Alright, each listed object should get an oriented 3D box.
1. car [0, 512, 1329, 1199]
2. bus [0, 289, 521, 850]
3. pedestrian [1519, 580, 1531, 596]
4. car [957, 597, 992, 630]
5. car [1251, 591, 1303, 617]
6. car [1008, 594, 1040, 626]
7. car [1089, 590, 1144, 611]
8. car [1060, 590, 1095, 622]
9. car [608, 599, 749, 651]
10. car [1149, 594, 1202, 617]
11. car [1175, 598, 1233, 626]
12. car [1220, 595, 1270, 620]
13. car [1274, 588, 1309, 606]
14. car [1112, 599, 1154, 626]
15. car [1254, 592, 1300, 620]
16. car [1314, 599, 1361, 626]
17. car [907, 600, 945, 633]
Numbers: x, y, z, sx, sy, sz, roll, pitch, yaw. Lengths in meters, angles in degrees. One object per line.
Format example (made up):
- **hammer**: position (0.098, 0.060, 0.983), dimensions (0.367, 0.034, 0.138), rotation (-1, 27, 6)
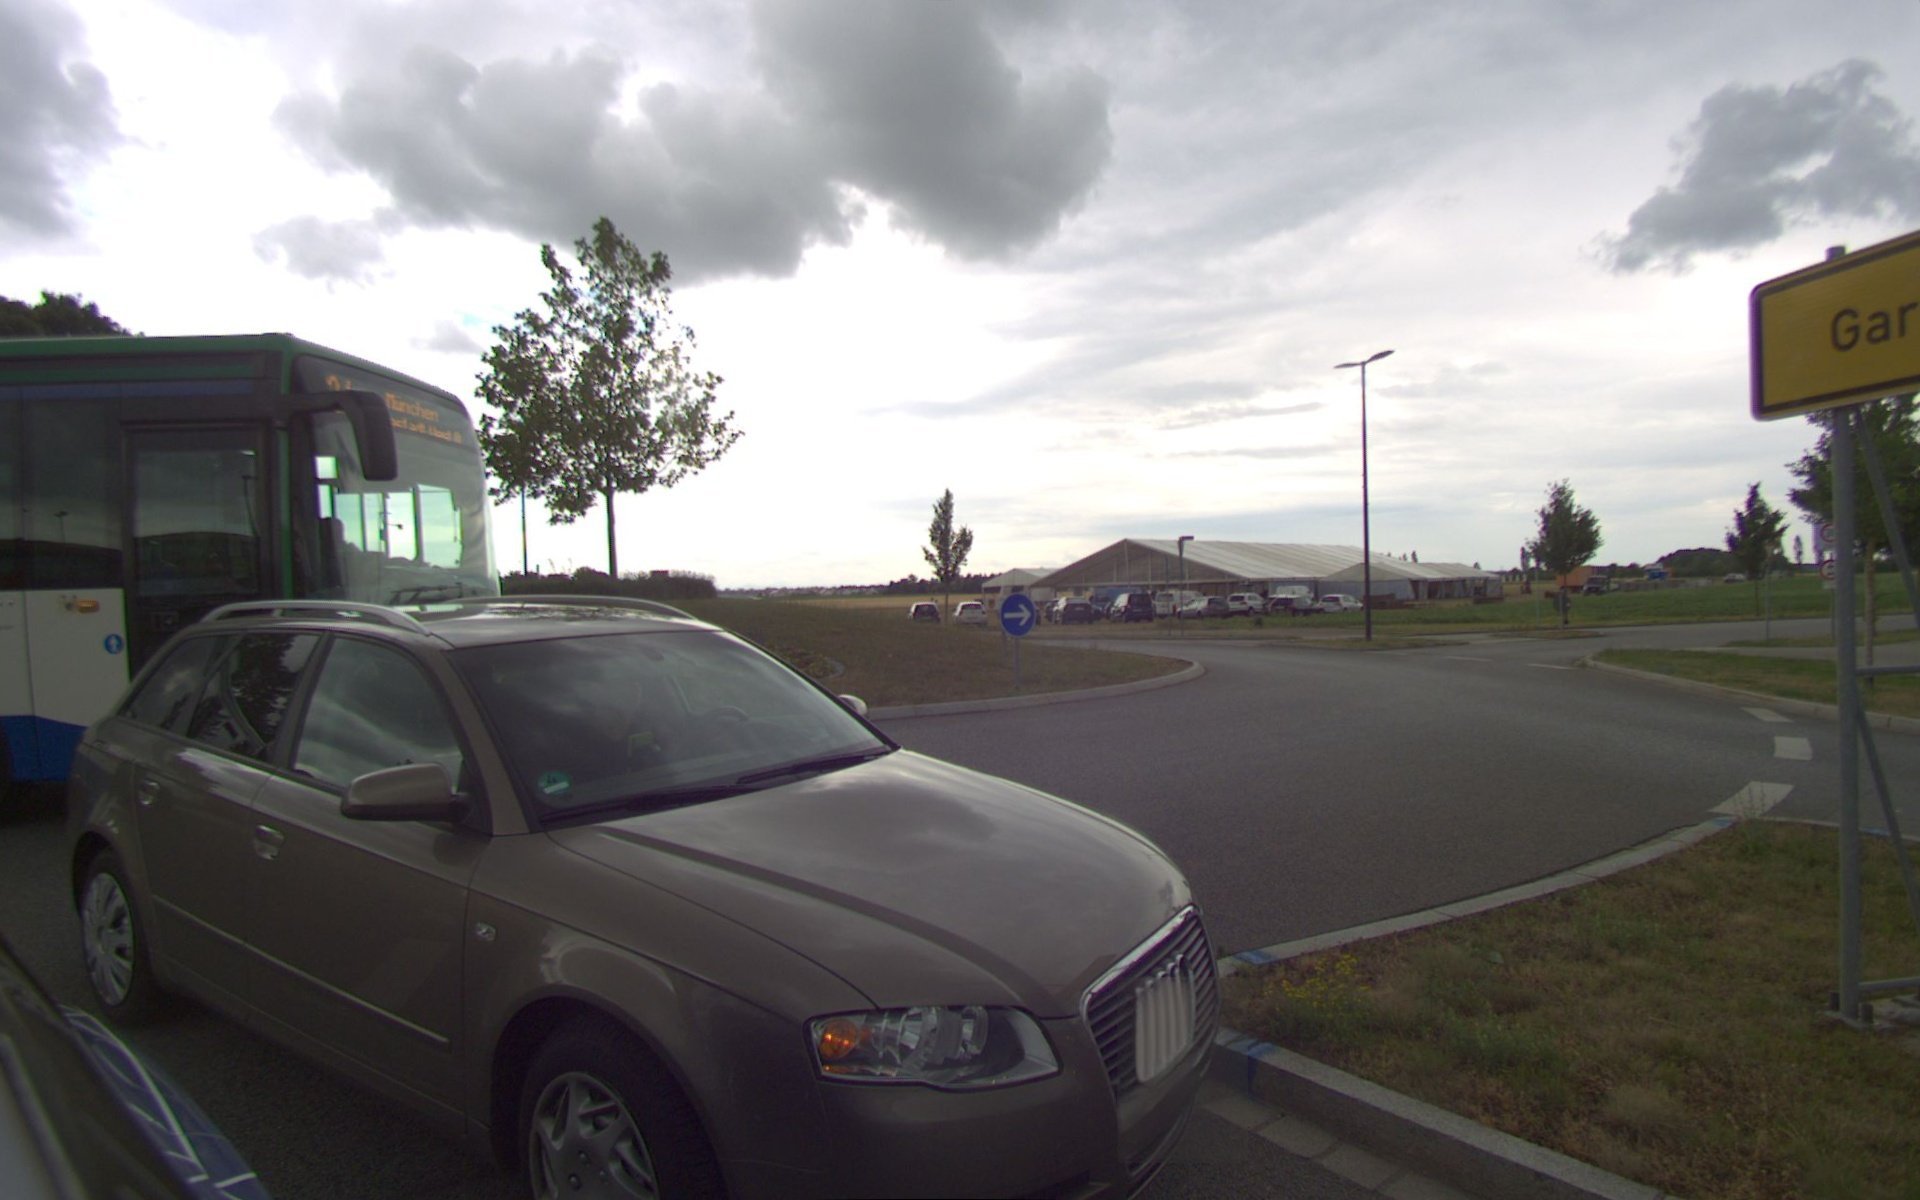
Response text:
- **car**: position (-1.341, 0.650, 3.349), dimensions (4.527, 1.476, 1.763), rotation (-1, 0, 33)
- **bus**: position (-6.884, -0.171, 7.200), dimensions (6.456, 3.283, 2.525), rotation (0, 0, 0)
- **pedestrian**: position (74.119, -1.591, 132.791), dimensions (1.045, 2.029, 1.052), rotation (-2, 1, -44)
- **car**: position (0.862, 0.714, 57.370), dimensions (1.694, 1.564, 3.996), rotation (-4, 2, 4)
- **car**: position (21.044, 0.229, 67.140), dimensions (1.835, 1.618, 3.776), rotation (-1, 0, 42)
- **car**: position (3.634, 0.530, 57.445), dimensions (1.694, 1.564, 3.996), rotation (-4, 2, 4)
- **car**: position (12.006, 0.042, 77.687), dimensions (3.935, 1.453, 1.956), rotation (-2, 0, -38)
- **car**: position (6.724, 0.306, 58.102), dimensions (1.694, 1.564, 3.996), rotation (-4, 2, 4)
- **car**: position (-9.713, 0.839, 35.075), dimensions (4.393, 1.638, 1.712), rotation (-2, 0, 4)
- **car**: position (15.153, 0.370, 70.963), dimensions (1.951, 1.453, 3.945), rotation (-1, 0, 41)
- **car**: position (14.730, 0.707, 61.319), dimensions (1.705, 1.618, 3.887), rotation (-2, 0, -15)
- **car**: position (19.461, 0.511, 69.013), dimensions (1.835, 1.618, 3.776), rotation (-1, 0, 42)
- **car**: position (32.284, -0.333, 98.566), dimensions (1.835, 1.618, 3.776), rotation (-1, 0, 42)
- **car**: position (9.883, 0.695, 58.015), dimensions (1.926, 1.453, 3.996), rotation (-1, 0, 3)
- **car**: position (19.046, 0.342, 60.921), dimensions (1.613, 1.618, 3.875), rotation (-2, 0, 1)
- **car**: position (24.373, 0.797, 65.221), dimensions (1.729, 1.565, 3.950), rotation (-1, 0, 37)
- **car**: position (-1.870, 0.896, 57.254), dimensions (1.694, 1.564, 3.996), rotation (-4, 2, 4)
